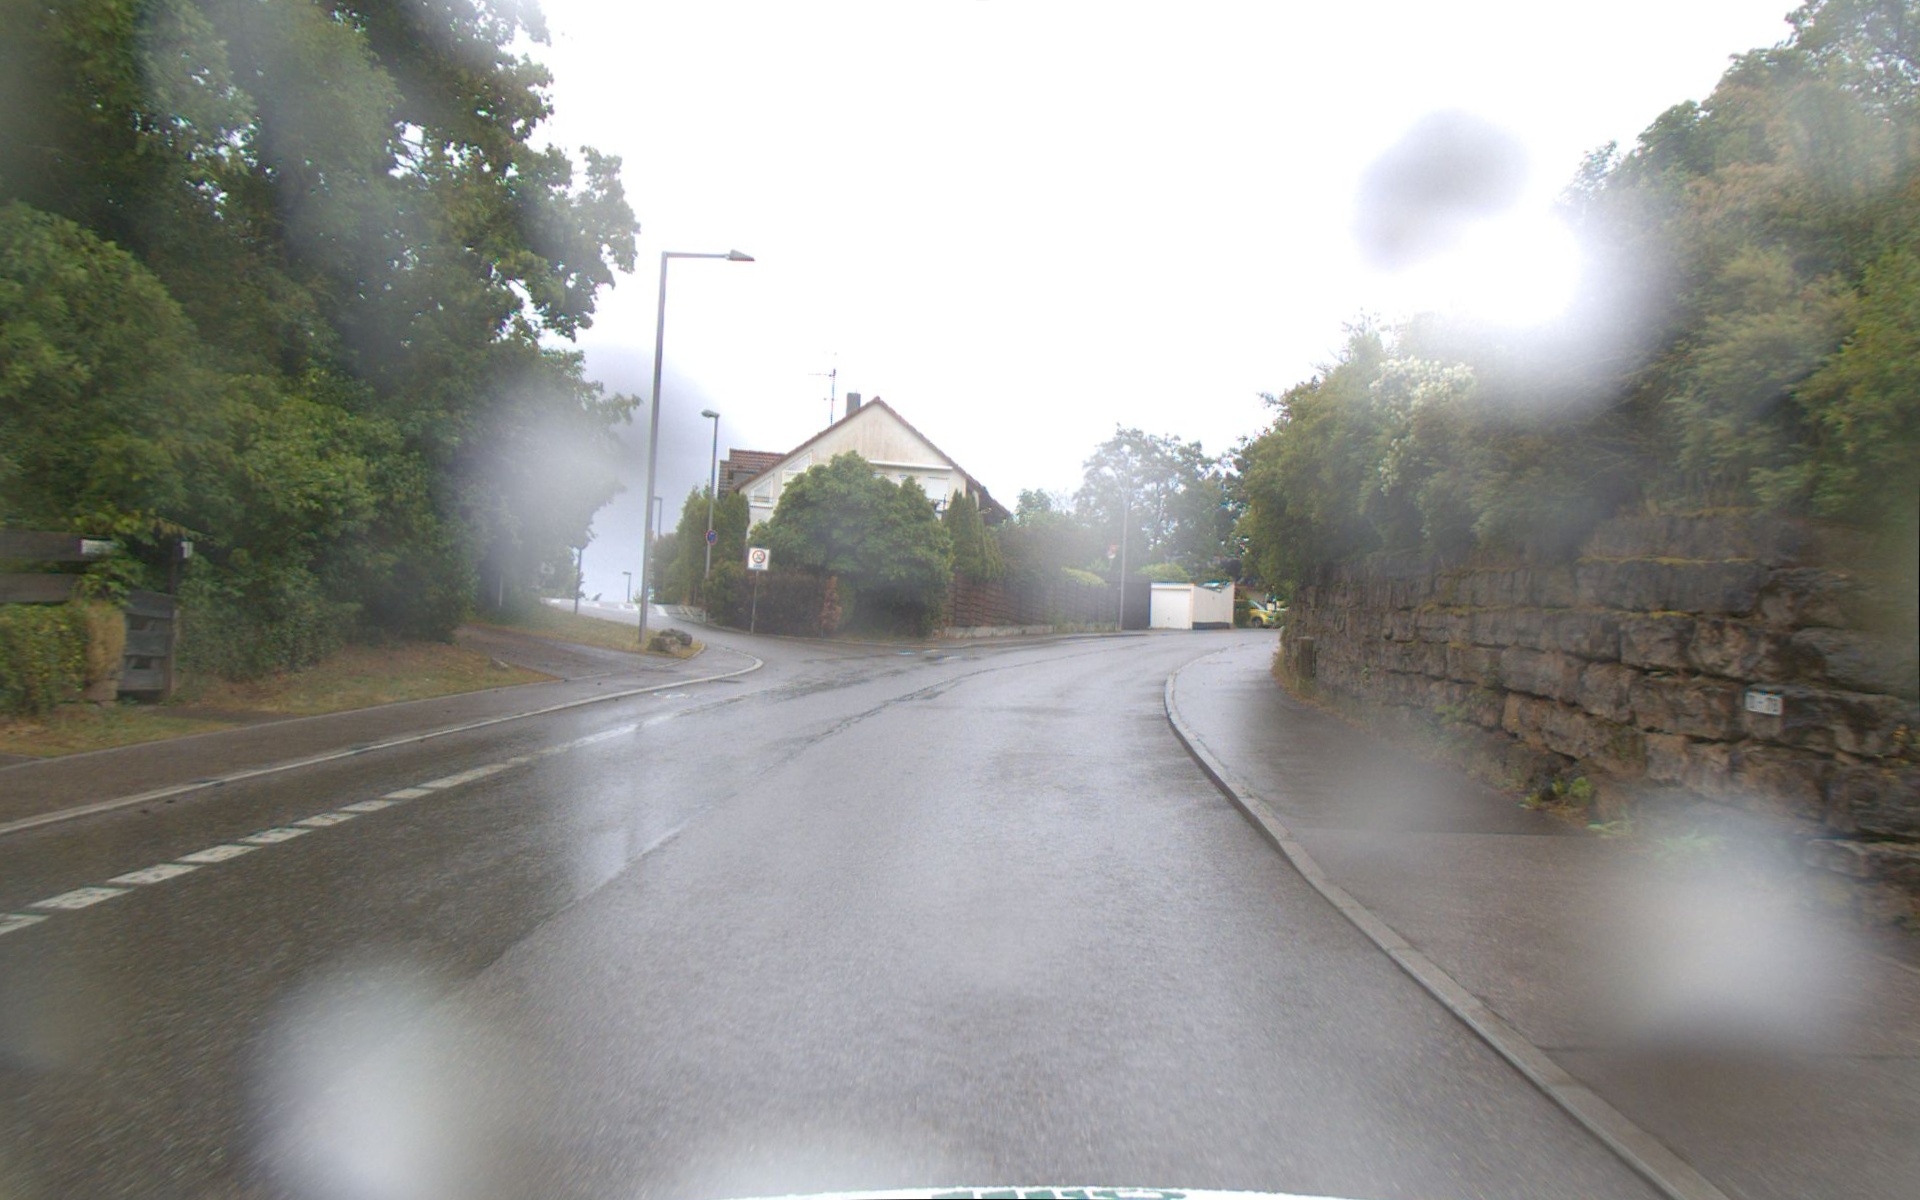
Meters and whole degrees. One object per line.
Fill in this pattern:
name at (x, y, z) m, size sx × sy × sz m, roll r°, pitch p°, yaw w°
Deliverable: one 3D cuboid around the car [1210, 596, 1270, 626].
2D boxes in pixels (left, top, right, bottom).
car at (19.212, 0.751, 113.490) m, size 3.761 × 1.940 × 1.534 m, roll 2°, pitch 0°, yaw 30°
